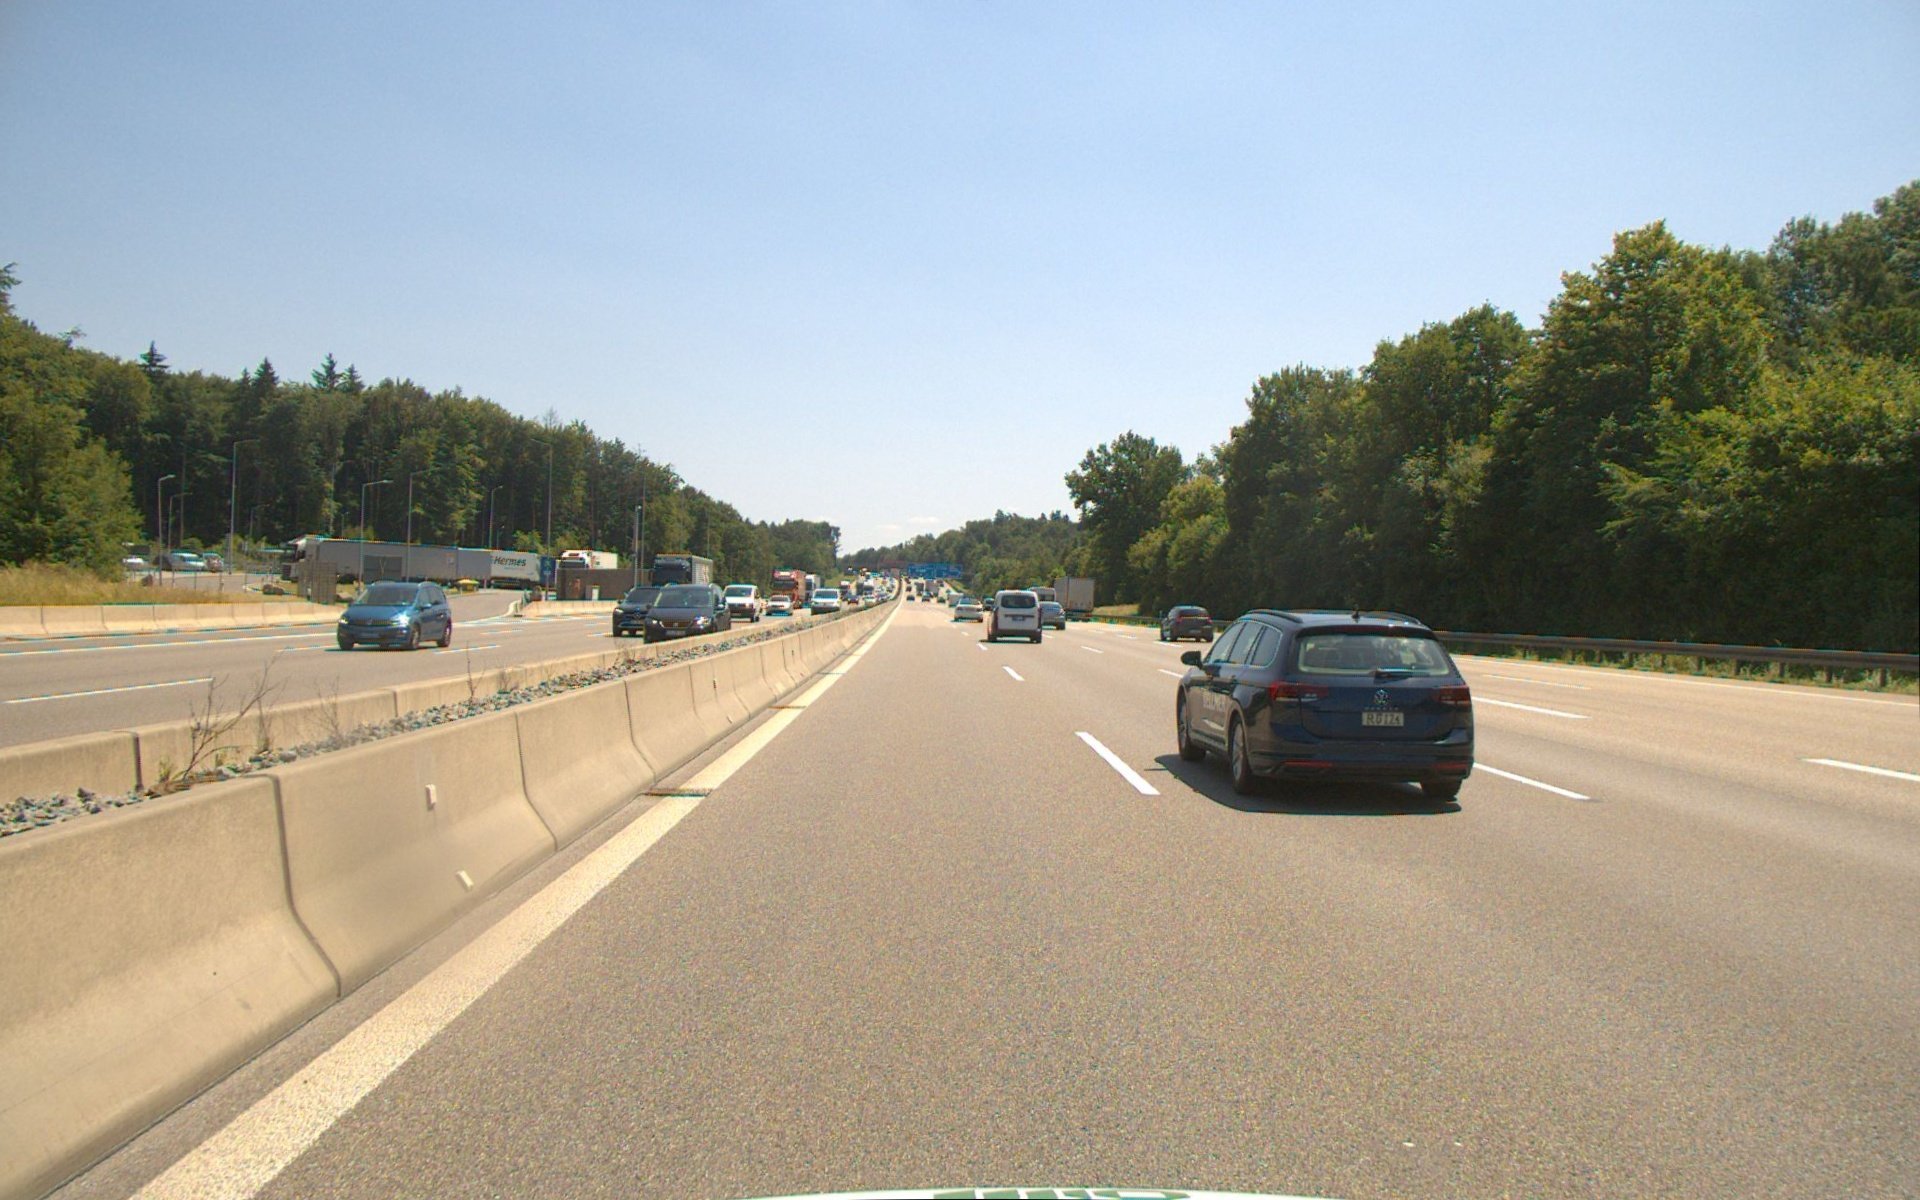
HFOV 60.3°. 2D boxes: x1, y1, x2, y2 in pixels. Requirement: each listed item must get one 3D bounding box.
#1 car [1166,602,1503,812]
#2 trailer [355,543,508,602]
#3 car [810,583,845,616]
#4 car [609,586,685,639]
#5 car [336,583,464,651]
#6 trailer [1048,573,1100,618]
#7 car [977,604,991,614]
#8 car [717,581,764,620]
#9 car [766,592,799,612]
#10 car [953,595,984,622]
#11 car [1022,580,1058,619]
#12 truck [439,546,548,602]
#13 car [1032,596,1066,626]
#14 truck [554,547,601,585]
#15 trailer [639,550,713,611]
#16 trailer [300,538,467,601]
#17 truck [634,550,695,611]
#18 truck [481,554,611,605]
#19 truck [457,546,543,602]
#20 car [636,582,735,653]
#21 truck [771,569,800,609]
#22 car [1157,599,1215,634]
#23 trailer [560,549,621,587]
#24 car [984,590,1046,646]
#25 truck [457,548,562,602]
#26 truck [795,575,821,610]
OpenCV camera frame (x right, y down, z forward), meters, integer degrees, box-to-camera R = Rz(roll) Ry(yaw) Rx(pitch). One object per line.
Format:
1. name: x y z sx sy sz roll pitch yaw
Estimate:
1. car: 3.000 0.775 14.369 1.694 1.472 4.960 1 0 -1
2. trailer: -51.219 -2.587 160.849 3.167 5.161 14.475 2 0 42
3. car: -8.706 -0.028 108.850 2.035 2.079 5.708 1 0 -2
4. car: -10.857 0.415 57.755 1.791 1.728 5.002 1 0 -1
5. car: -13.866 0.394 41.225 1.694 1.598 4.672 1 0 -1
6. trailer: 10.874 -0.519 159.267 3.222 3.998 13.884 4 1 -3
7. car: 3.395 1.330 234.365 1.798 1.361 3.641 1 0 -2
8. car: -11.971 0.041 90.664 1.953 2.049 5.128 1 0 -1
9. car: -12.873 0.156 120.227 1.953 1.401 5.009 1 0 -1
10. car: 0.511 0.525 106.628 1.806 1.657 4.551 1 0 -2
11. car: 5.848 -0.062 121.938 2.100 2.698 5.708 3 1 -2
12. truck: -51.039 -2.806 181.450 3.171 5.711 11.466 2 0 42
13. car: 4.727 0.589 88.059 1.473 1.527 3.648 1 0 -1
14. truck: -34.440 -3.054 149.116 2.868 3.178 6.200 2 0 -2
15. trailer: -20.282 -1.318 119.209 3.275 4.071 14.273 1 0 -2
16. trailer: -51.936 -2.637 149.568 3.075 5.161 14.475 2 0 42
17. truck: -20.076 -1.292 112.607 3.221 3.999 5.537 1 0 -2
18. truck: -51.535 -2.478 206.622 3.391 5.711 16.604 2 0 42
19. truck: -49.460 -2.773 178.161 3.171 5.711 8.436 2 0 42
20. car: -7.046 0.424 42.872 1.812 1.707 5.043 1 0 -1
21. truck: -18.465 -1.153 174.923 2.477 4.120 6.469 1 0 -2
22. car: 9.177 0.660 67.448 1.637 1.296 4.288 2 0 -2
23. trailer: -34.742 -2.964 156.047 2.912 3.178 14.603 2 0 -2
24. car: 1.923 0.618 59.159 1.823 1.857 4.609 1 0 -3
25. truck: -50.814 -2.784 186.969 3.171 5.711 11.466 2 0 42
26. truck: -18.533 -0.922 202.305 2.680 4.102 6.778 1 0 -2
